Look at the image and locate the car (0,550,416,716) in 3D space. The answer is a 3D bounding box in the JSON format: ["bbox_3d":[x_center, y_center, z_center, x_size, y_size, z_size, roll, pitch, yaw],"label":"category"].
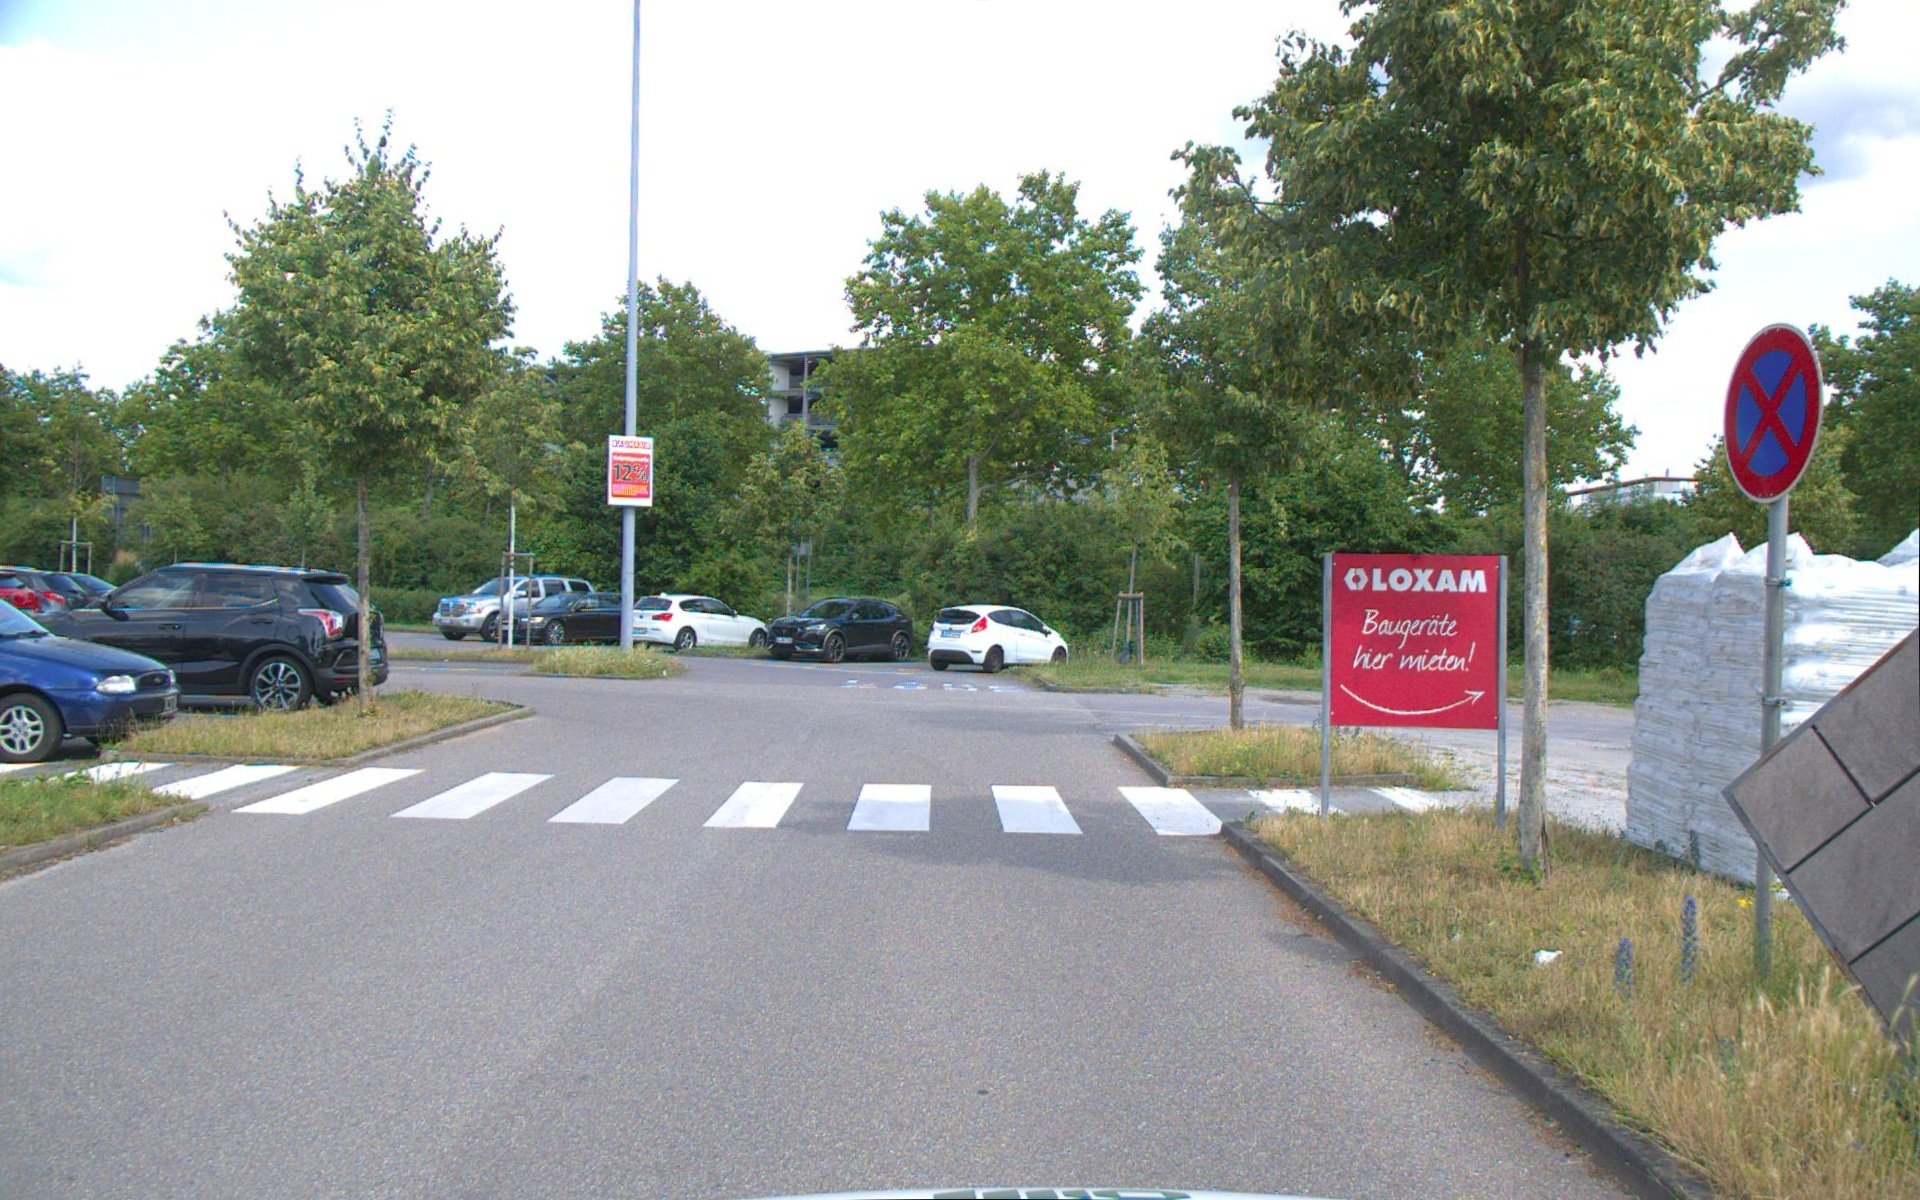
[{"bbox_3d":[-8.335,0.345,18.490,3.869,1.653,1.736,2,0,1],"label":"car"}]

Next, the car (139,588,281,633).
[{"bbox_3d":[-24.507,0.360,54.146,1.663,1.405,3.990,-1,-1,32],"label":"car"}]

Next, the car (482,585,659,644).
[{"bbox_3d":[-10.561,0.392,45.178,1.802,1.476,4.709,2,0,34],"label":"car"}]

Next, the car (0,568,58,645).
[{"bbox_3d":[-19.738,0.055,31.588,3.994,1.423,1.765,2,0,-3],"label":"car"}]

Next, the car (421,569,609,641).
[{"bbox_3d":[-12.450,0.163,46.606,1.949,1.875,5.134,2,0,32],"label":"car"}]

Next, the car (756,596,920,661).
[{"bbox_3d":[-2.879,0.671,39.904,1.697,1.435,4.230,2,0,33],"label":"car"}]

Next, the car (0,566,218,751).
[{"bbox_3d":[-8.257,0.407,13.442,3.674,1.392,1.621,2,0,-1],"label":"car"}]

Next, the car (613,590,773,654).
[{"bbox_3d":[-6.770,0.561,42.348,1.657,1.536,4.066,1,-1,36],"label":"car"}]

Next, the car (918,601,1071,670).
[{"bbox_3d":[0.812,0.785,37.067,1.638,1.436,3.541,2,0,38],"label":"car"}]

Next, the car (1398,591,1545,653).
[{"bbox_3d":[15.673,0.647,50.704,3.915,1.745,1.995,2,0,32],"label":"car"}]
